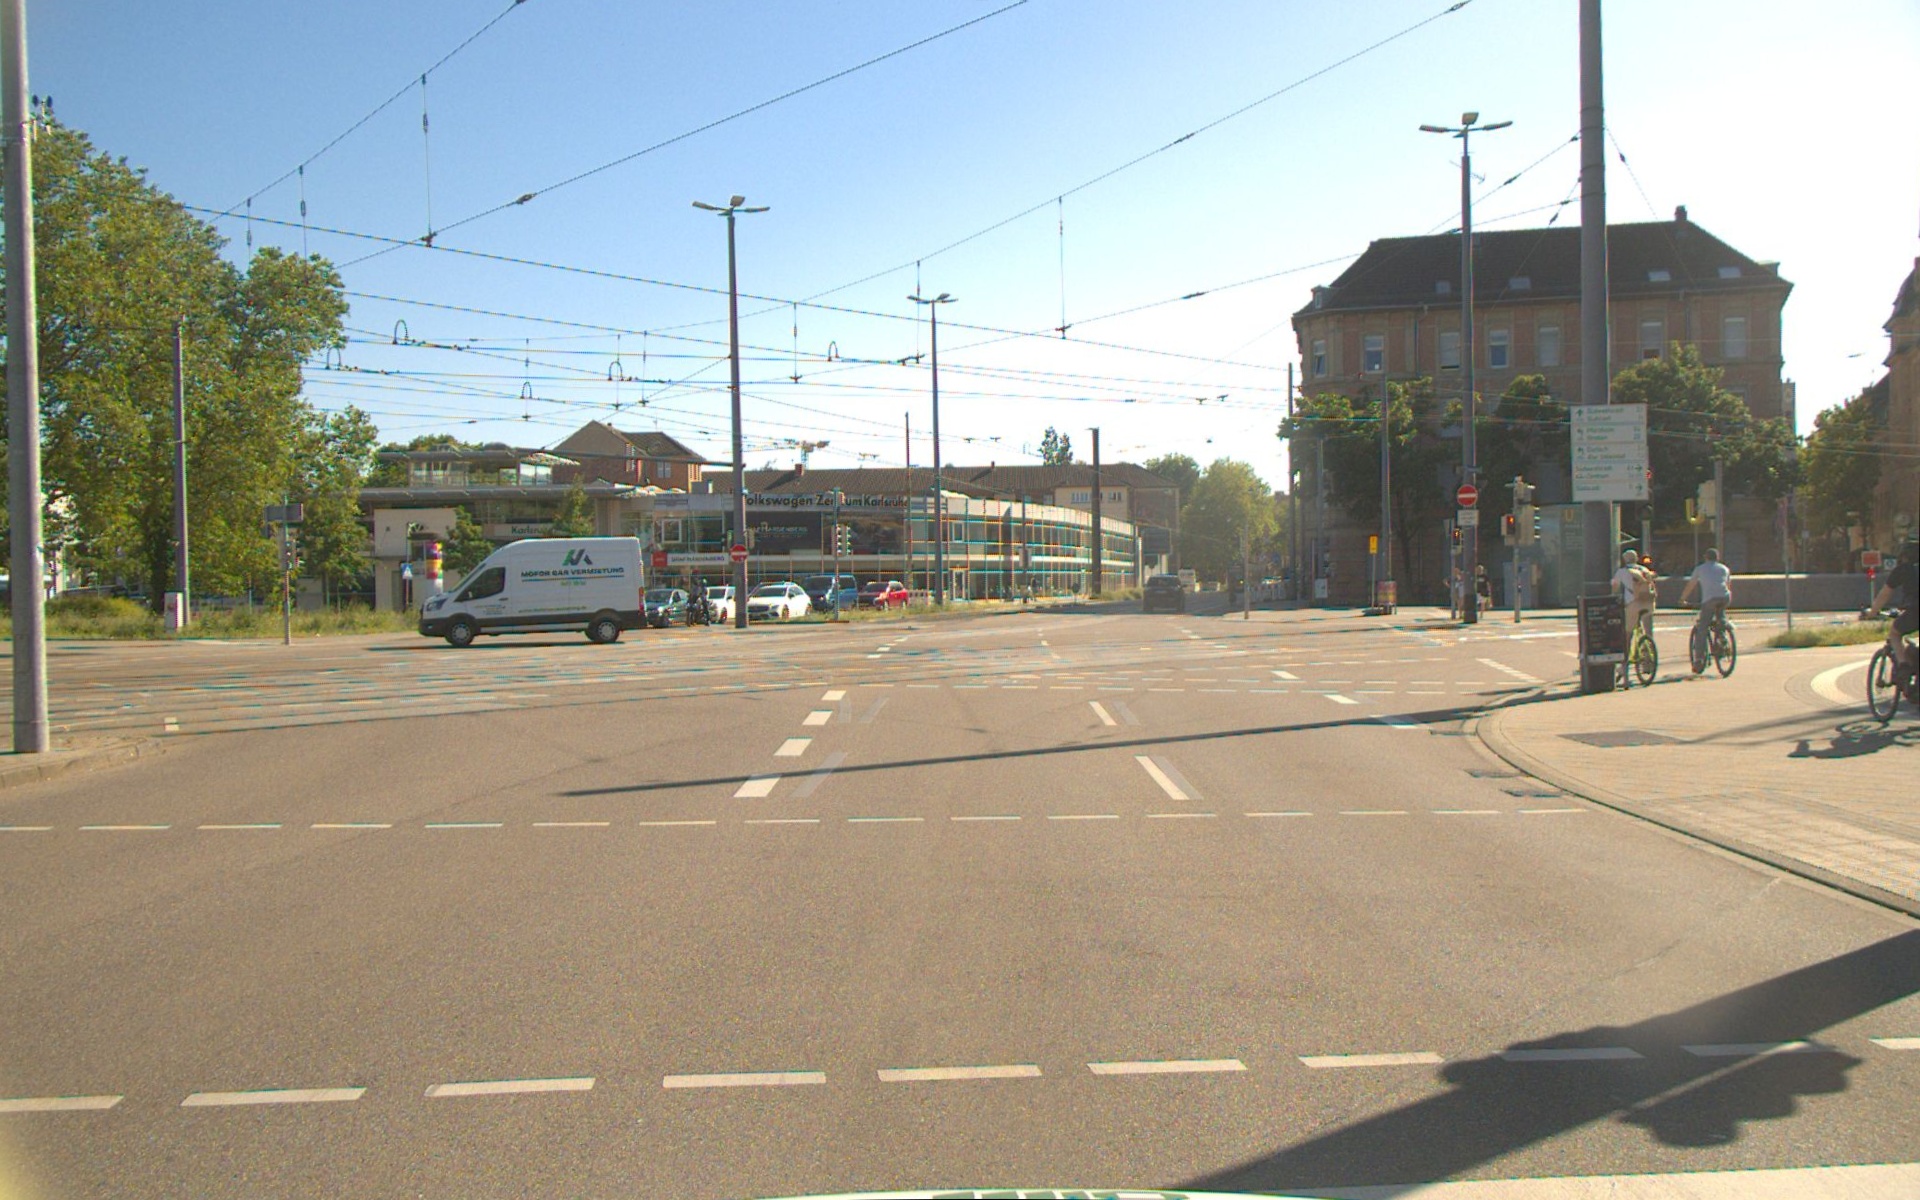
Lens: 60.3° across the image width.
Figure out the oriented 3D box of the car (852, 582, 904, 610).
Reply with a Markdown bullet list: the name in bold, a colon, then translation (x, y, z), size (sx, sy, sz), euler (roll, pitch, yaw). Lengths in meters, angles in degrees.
- **car**: translation (-4.239, -0.204, 86.021), size (1.591, 1.388, 3.688), euler (-1, 1, 16)

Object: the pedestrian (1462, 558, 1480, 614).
- **pedestrian**: translation (18.845, -0.522, 60.999), size (0.453, 2.049, 0.449), euler (-1, 1, -18)

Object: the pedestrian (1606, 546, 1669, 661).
- **pedestrian**: translation (9.584, 0.043, 23.418), size (0.537, 1.590, 0.858), euler (-1, 0, 2)

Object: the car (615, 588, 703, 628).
- **car**: translation (-11.004, 0.284, 60.702), size (1.667, 1.378, 3.703), euler (-1, 1, 16)

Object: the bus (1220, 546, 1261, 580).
- **bus**: translation (34.542, -4.417, 202.975), size (3.755, 3.670, 24.887), euler (1, 0, 12)

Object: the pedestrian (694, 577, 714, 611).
- **pedestrian**: translation (-9.339, -0.212, 60.392), size (0.413, 1.225, 0.750), euler (-1, 0, 16)

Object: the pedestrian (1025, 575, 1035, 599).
- **pedestrian**: translation (5.158, -0.969, 121.508), size (0.531, 1.718, 0.630), euler (-1, 0, 20)

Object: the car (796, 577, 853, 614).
- **car**: translation (-6.417, -0.240, 78.861), size (1.591, 1.722, 3.689), euler (-1, 1, 14)

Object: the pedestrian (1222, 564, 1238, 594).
- **pedestrian**: translation (14.954, -1.154, 91.549), size (0.786, 1.660, 0.718), euler (-1, 0, 18)

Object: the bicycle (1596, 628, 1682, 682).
- **bicycle**: translation (9.629, 0.764, 23.508), size (0.526, 0.667, 1.726), euler (-4, 0, 2)

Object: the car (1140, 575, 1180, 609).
- **car**: translation (9.390, -0.383, 77.427), size (1.662, 1.529, 4.268), euler (-1, 1, 10)

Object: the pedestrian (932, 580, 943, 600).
- **pedestrian**: translation (-1.363, -0.605, 99.876), size (0.414, 1.225, 0.681), euler (-1, 0, 20)

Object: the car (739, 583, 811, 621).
- **car**: translation (-7.228, 0.074, 64.832), size (1.591, 1.406, 3.741), euler (-1, 1, 14)

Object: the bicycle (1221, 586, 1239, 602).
- **bicycle**: translation (14.875, -0.334, 91.154), size (0.727, 0.885, 1.932), euler (-1, 0, 18)

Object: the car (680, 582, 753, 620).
- **car**: translation (-9.781, 0.038, 66.675), size (1.591, 1.448, 3.689), euler (-1, 1, 14)

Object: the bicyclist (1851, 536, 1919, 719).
- **bicyclist**: translation (9.045, 0.240, 15.679), size (0.612, 1.666, 0.995), euler (-4, 0, 5)

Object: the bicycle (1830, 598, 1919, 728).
- **bicycle**: translation (9.079, 0.575, 15.806), size (0.612, 1.133, 1.852), euler (-4, 0, 5)

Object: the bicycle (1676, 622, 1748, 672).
- **bicycle**: translation (11.188, 0.689, 24.653), size (0.525, 0.667, 1.469), euler (-2, 1, 6)

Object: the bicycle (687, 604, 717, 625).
- **bicycle**: translation (-9.380, 0.533, 60.198), size (0.413, 0.730, 1.636), euler (-1, 1, 16)

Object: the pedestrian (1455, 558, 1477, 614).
- **pedestrian**: translation (18.442, -0.516, 60.280), size (0.564, 2.049, 0.449), euler (-1, 1, -19)

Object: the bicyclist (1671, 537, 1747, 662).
- **bicyclist**: translation (11.141, -0.017, 24.639), size (0.731, 1.809, 0.925), euler (-2, 0, 6)

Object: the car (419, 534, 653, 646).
- **car**: translation (-11.252, -0.293, 43.929), size (5.818, 2.792, 2.132), euler (-1, 0, -20)
